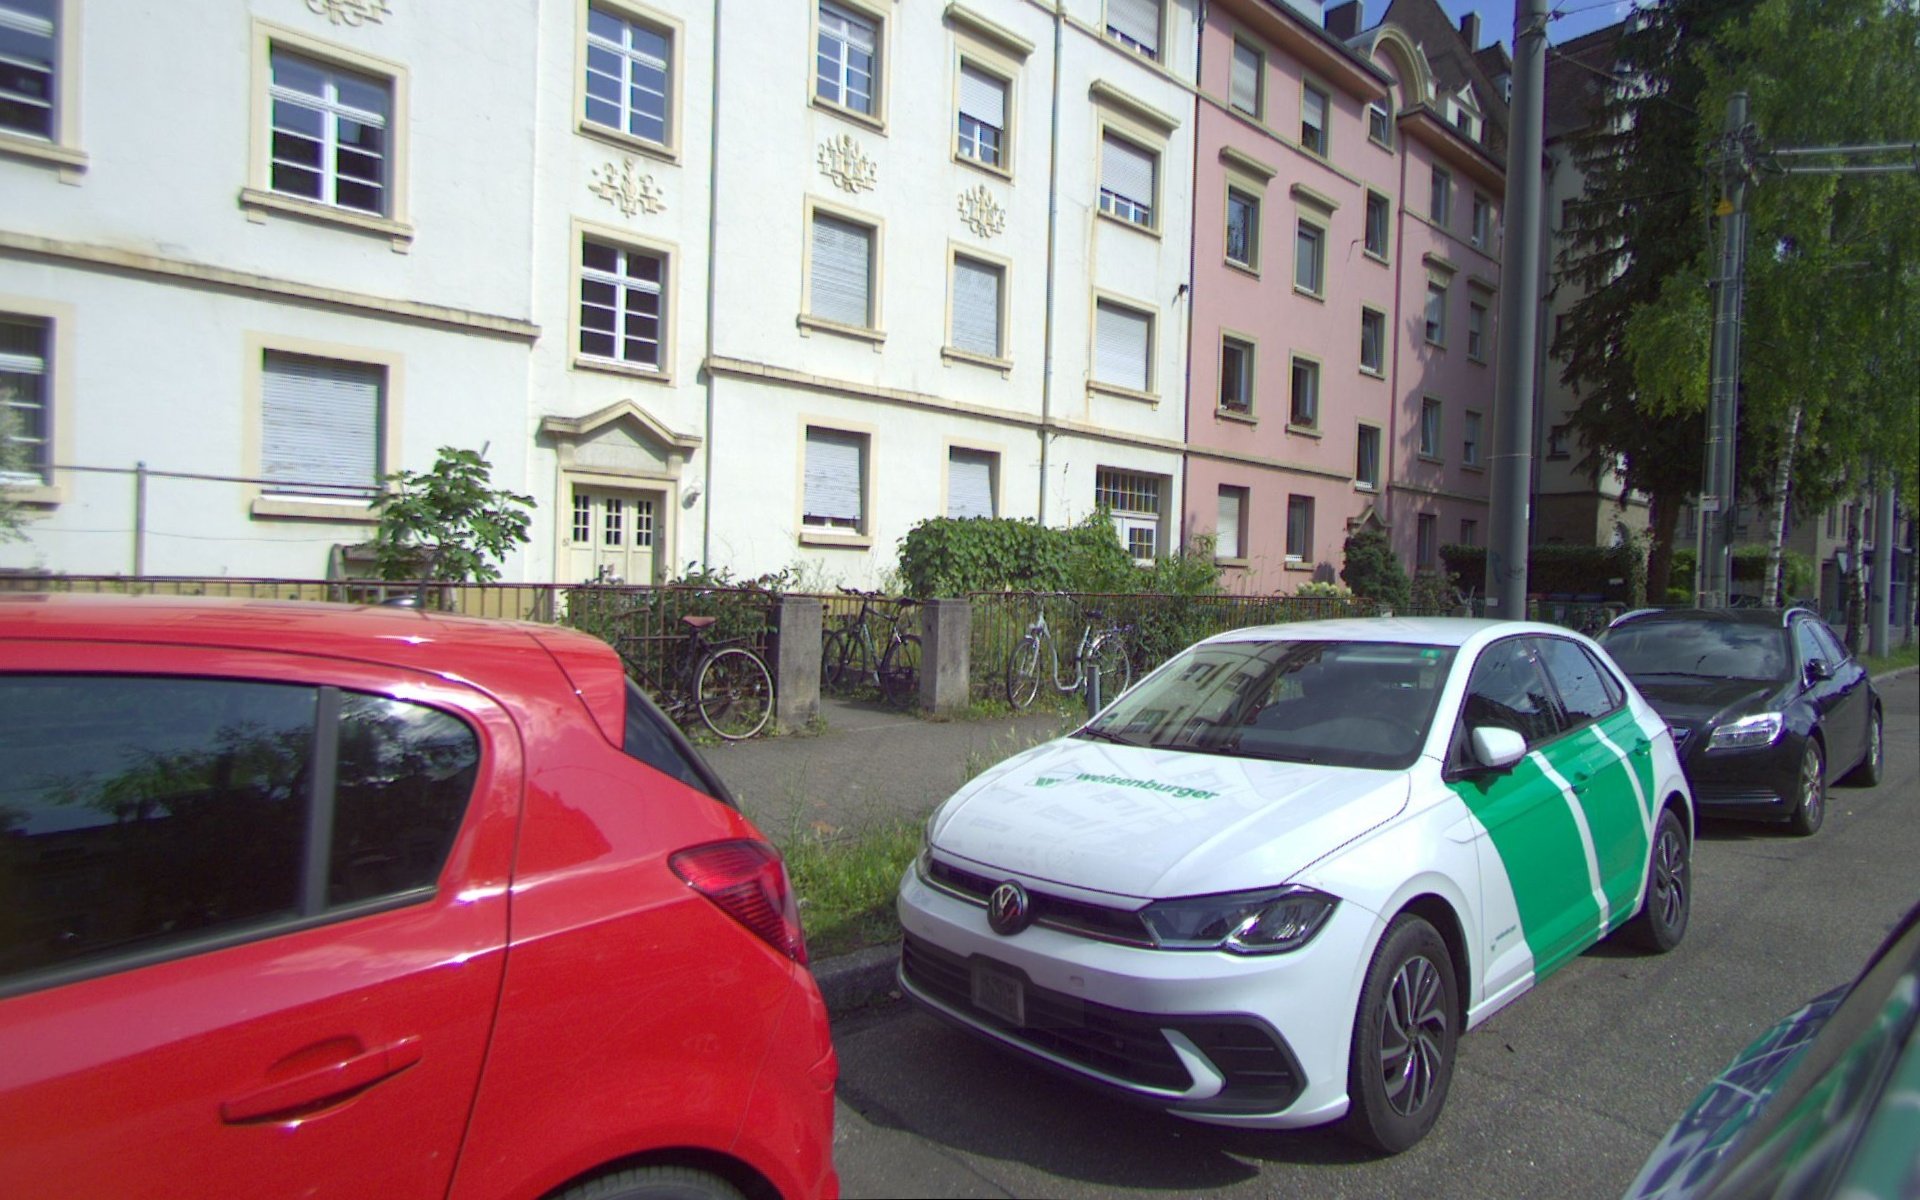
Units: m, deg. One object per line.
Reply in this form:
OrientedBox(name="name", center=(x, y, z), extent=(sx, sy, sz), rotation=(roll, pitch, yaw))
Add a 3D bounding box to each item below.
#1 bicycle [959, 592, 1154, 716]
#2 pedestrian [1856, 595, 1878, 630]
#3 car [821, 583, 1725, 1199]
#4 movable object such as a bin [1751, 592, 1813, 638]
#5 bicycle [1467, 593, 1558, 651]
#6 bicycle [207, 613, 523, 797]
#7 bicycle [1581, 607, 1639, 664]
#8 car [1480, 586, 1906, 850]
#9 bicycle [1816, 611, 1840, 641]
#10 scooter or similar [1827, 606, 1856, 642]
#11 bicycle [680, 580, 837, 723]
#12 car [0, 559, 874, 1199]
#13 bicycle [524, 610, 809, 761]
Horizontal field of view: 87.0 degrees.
OrientedBox(name="bicycle", center=(0.987, 0.490, 9.848), extent=(2.143, 1.090, 0.473), rotation=(1, 2, -39))
OrientedBox(name="pedestrian", center=(49.719, 0.685, 55.491), extent=(0.732, 1.865, 0.797), rotation=(2, 1, 35))
OrientedBox(name="car", center=(1.524, 0.709, 4.021), extent=(3.849, 1.471, 1.623), rotation=(1, 1, -41))
OrientedBox(name="movable object such as a bin", center=(29.136, 0.532, 35.863), extent=(1.964, 1.510, 1.305), rotation=(1, 2, -40))
OrientedBox(name="bicycle", center=(12.725, 0.485, 23.336), extent=(0.413, 1.235, 1.776), rotation=(1, 2, -41))
OrientedBox(name="bicycle", center=(-3.477, 0.564, 6.005), extent=(1.557, 0.950, 0.388), rotation=(1, 1, -41))
OrientedBox(name="bicycle", center=(12.932, 0.686, 20.120), extent=(1.746, 1.066, 0.421), rotation=(1, 2, -40))
OrientedBox(name="car", center=(6.002, 0.717, 8.069), extent=(4.447, 1.540, 1.795), rotation=(1, -1, -41))
OrientedBox(name="bicycle", center=(30.523, 0.906, 35.577), extent=(1.455, 1.034, 0.350), rotation=(1, 4, -41))
OrientedBox(name="scooter or similar", center=(31.404, 0.851, 36.049), extent=(1.166, 1.193, 0.522), rotation=(1, 4, -39))
OrientedBox(name="bicycle", center=(-1.946, 0.438, 9.605), extent=(1.841, 1.197, 0.457), rotation=(3, 1, 44))
OrientedBox(name="car", center=(-2.085, 0.704, 1.116), extent=(3.777, 1.471, 1.591), rotation=(1, -2, -41))
OrientedBox(name="bicycle", center=(-2.045, 0.561, 7.284), extent=(1.974, 0.955, 0.378), rotation=(1, 1, -41))
